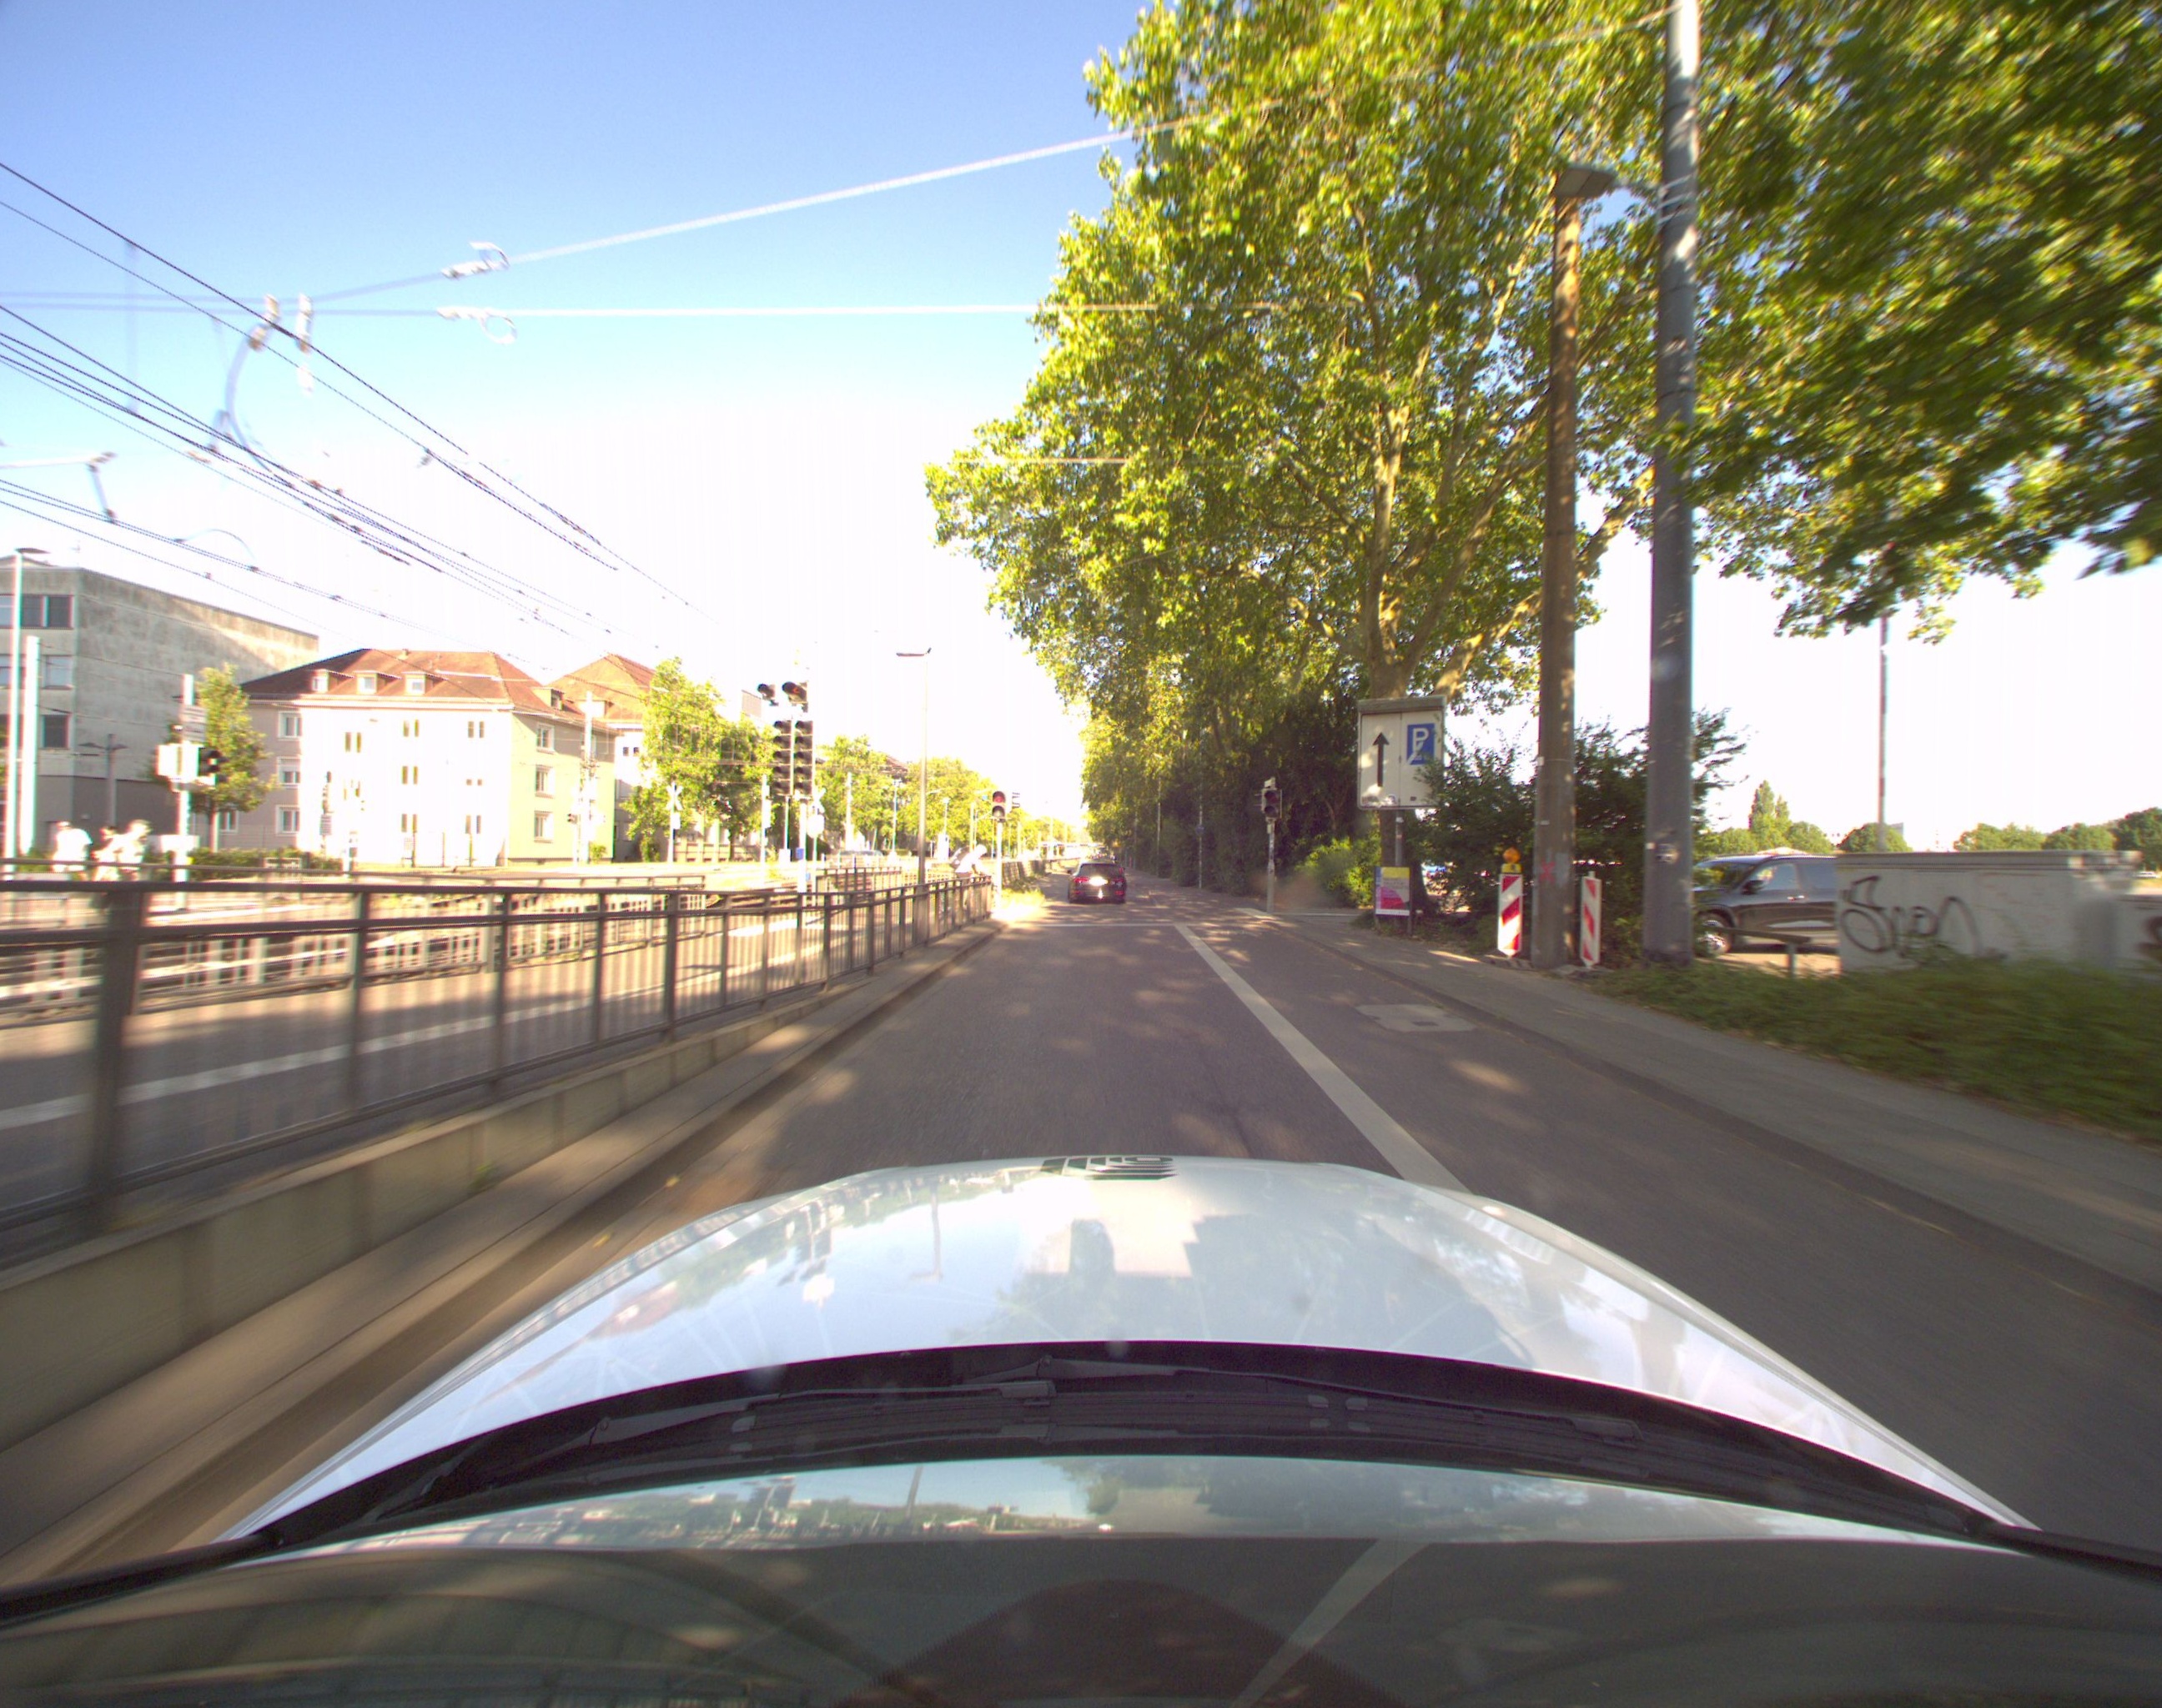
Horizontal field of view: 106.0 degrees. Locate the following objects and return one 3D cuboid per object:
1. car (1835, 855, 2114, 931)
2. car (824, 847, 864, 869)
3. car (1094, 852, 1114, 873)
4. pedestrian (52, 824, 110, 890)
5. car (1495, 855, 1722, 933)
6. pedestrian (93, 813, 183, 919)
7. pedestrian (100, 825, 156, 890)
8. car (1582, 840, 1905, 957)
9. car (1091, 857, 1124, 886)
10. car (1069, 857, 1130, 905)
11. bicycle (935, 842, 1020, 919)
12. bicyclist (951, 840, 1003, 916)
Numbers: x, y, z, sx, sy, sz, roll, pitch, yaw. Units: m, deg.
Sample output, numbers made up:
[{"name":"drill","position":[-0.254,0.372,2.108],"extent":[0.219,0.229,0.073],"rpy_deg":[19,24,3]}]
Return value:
[{"name":"car","position":[21.409,0.890,19.685],"extent":[4.437,1.658,1.920],"rpy_deg":[1,0,5]},{"name":"car","position":[-18.078,0.327,62.348],"extent":[1.733,1.547,4.000],"rpy_deg":[2,0,1]},{"name":"car","position":[2.339,0.865,83.318],"extent":[1.986,2.013,4.001],"rpy_deg":[1,0,1]},{"name":"pedestrian","position":[-26.436,0.077,21.541],"extent":[0.661,1.717,0.671],"rpy_deg":[1,0,-1]},{"name":"car","position":[10.723,0.779,16.749],"extent":[3.580,1.462,1.679],"rpy_deg":[1,0,2]},{"name":"pedestrian","position":[-15.801,0.201,13.661],"extent":[0.664,1.717,0.727],"rpy_deg":[1,0,13]},{"name":"pedestrian","position":[-25.735,0.085,22.003],"extent":[0.661,1.717,0.671],"rpy_deg":[1,0,-1]},{"name":"car","position":[11.023,0.699,13.785],"extent":[3.972,1.764,1.834],"rpy_deg":[1,0,1]},{"name":"car","position":[1.518,0.995,48.028],"extent":[1.757,1.619,3.998],"rpy_deg":[1,0,-1]},{"name":"car","position":[0.558,0.848,27.300],"extent":[1.873,1.457,3.355],"rpy_deg":[-1,0,-1]},{"name":"bicycle","position":[-2.412,0.609,19.135],"extent":[1.984,1.717,0.584],"rpy_deg":[1,0,-44]},{"name":"bicyclist","position":[-2.433,0.549,19.115],"extent":[0.914,1.717,0.761],"rpy_deg":[2,-1,-44]}]
